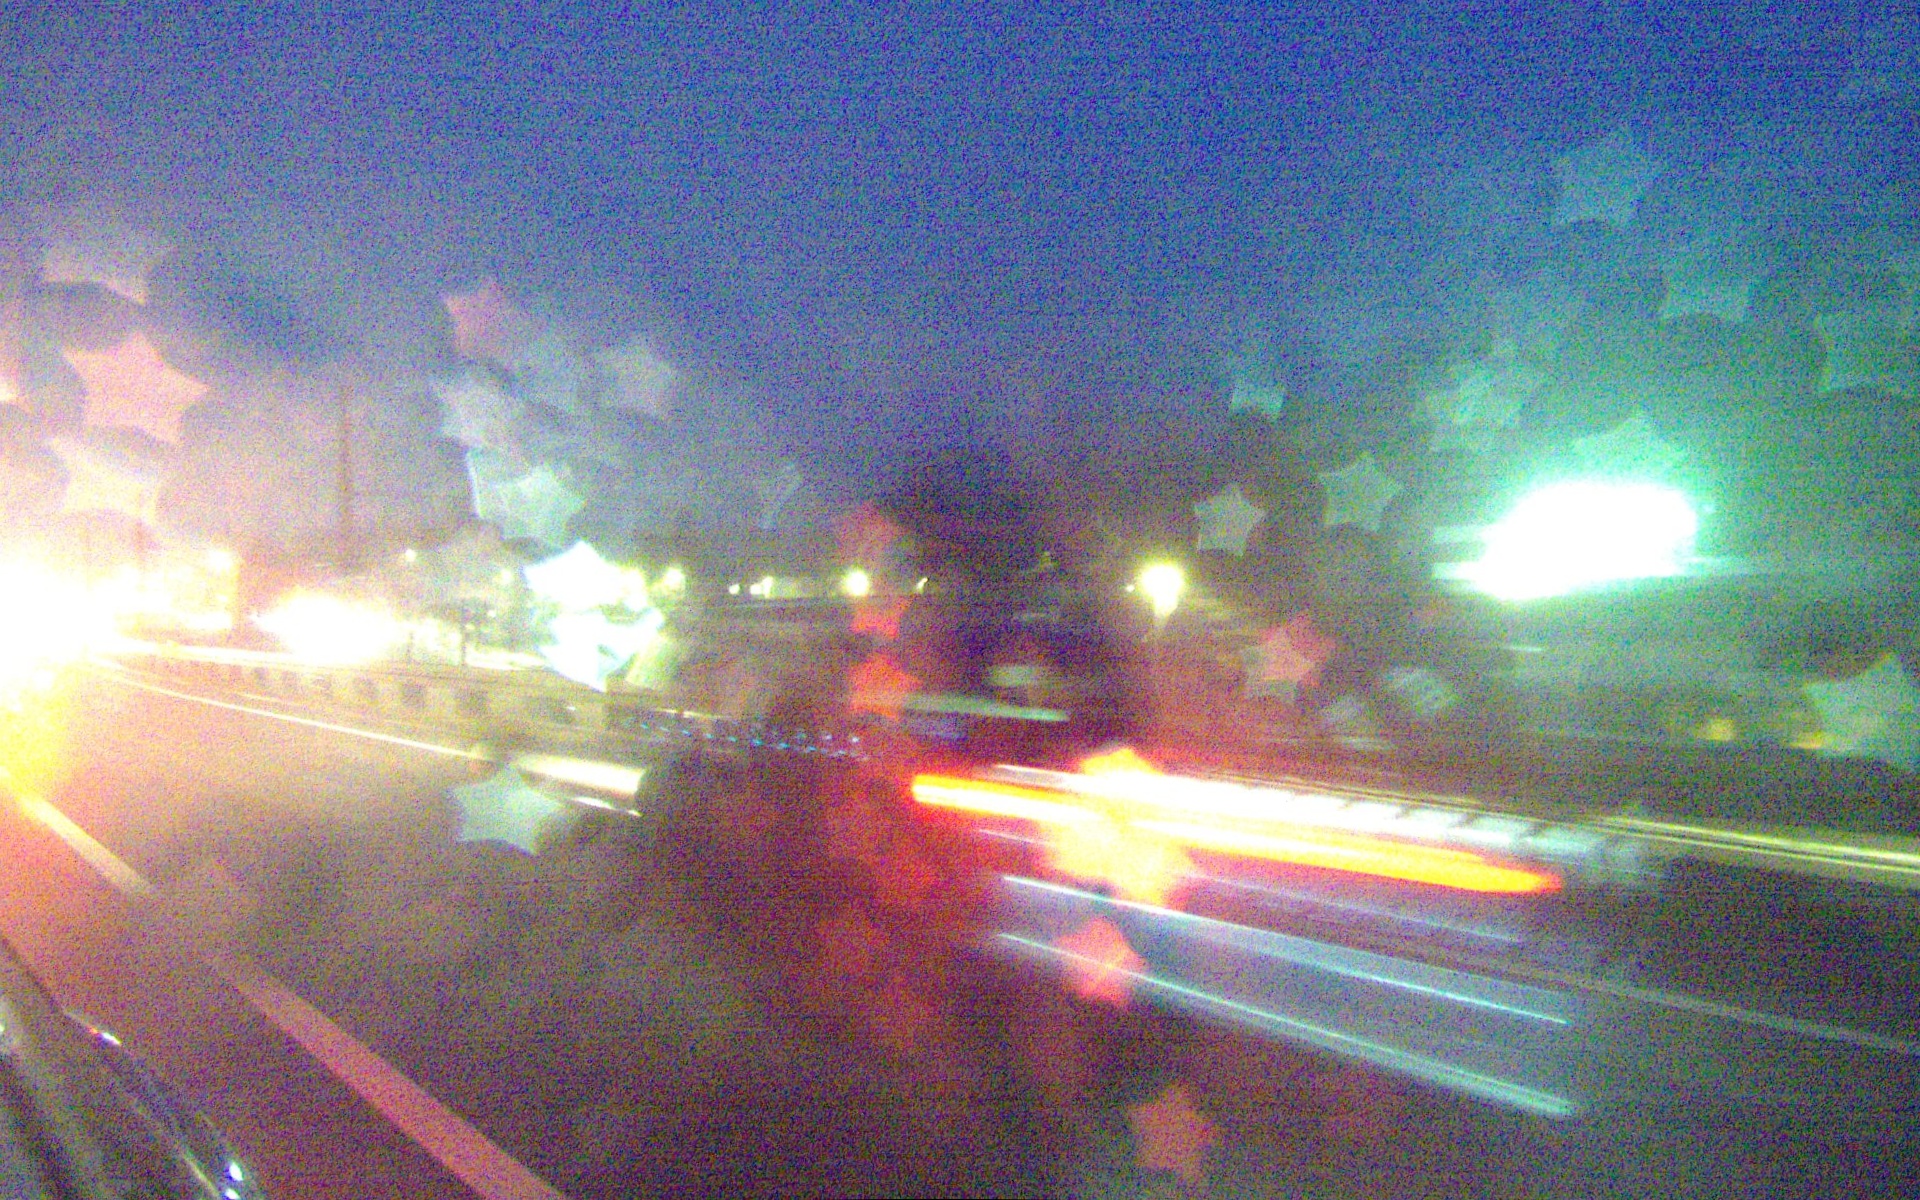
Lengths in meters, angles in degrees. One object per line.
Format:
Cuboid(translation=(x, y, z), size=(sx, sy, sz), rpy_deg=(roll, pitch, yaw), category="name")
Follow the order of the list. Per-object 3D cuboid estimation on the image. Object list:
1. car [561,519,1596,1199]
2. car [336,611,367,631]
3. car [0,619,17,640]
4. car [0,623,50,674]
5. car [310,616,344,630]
Cuboid(translation=(0.122, 0.660, 3.745), size=(3.559, 1.628, 1.468), rpy_deg=(-2, 1, 42), category="car")
Cuboid(translation=(-75.082, 2.598, 124.879), size=(1.970, 2.325, 6.026), rpy_deg=(-1, -1, -44), category="car")
Cuboid(translation=(-65.436, 2.024, 68.878), size=(1.782, 1.393, 4.776), rpy_deg=(-1, -1, -43), category="car")
Cuboid(translation=(-30.190, 1.510, 31.956), size=(3.860, 1.531, 1.675), rpy_deg=(-1, -1, 41), category="car")
Cuboid(translation=(-81.132, 2.913, 129.653), size=(4.429, 1.706, 1.834), rpy_deg=(-1, -1, 29), category="car")
